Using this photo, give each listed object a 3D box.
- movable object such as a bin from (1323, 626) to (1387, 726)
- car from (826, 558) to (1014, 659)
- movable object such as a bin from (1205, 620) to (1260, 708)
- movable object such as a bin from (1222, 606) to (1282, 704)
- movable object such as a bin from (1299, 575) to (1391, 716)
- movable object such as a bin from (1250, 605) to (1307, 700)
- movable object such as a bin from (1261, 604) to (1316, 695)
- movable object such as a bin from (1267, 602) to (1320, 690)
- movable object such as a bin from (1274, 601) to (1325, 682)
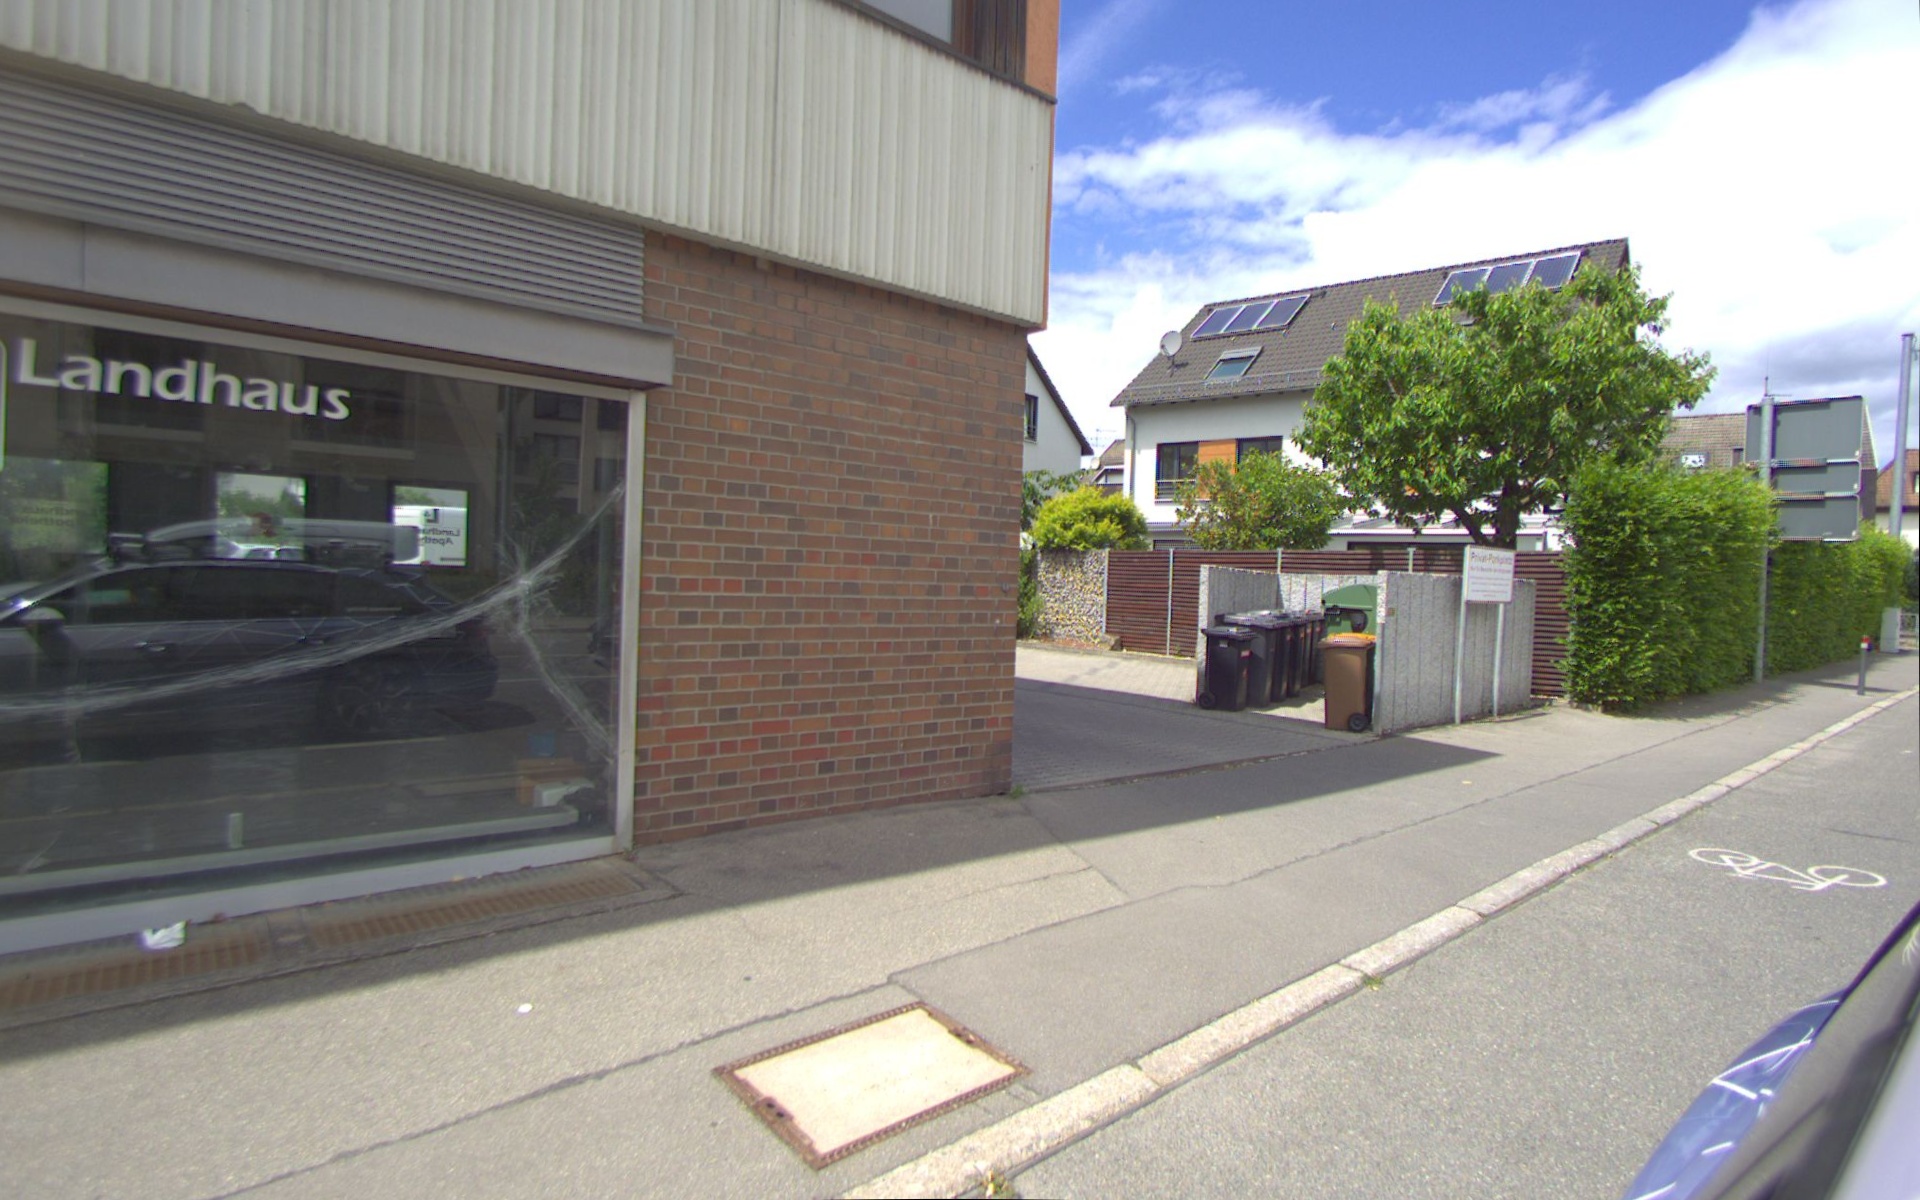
[{"bbox_3d":[3.978,0.747,10.184,0.514,0.933,0.474,1,1,31],"label":"movable object such as a bin"},{"bbox_3d":[-0.597,0.064,18.493,1.977,1.615,3.971,1,2,22],"label":"car"},{"bbox_3d":[3.066,0.710,11.393,0.513,0.933,0.475,1,1,25],"label":"movable object such as a bin"},{"bbox_3d":[3.406,0.627,11.784,0.590,1.088,0.485,1,1,25],"label":"movable object such as a bin"},{"bbox_3d":[4.224,0.472,11.118,0.471,1.473,0.808,0,1,-45],"label":"movable object such as a bin"},{"bbox_3d":[3.837,0.620,12.176,0.590,1.088,0.485,1,1,25],"label":"movable object such as a bin"},{"bbox_3d":[4.101,0.605,12.623,0.590,1.088,0.485,1,1,25],"label":"movable object such as a bin"},{"bbox_3d":[4.321,0.586,13.101,0.590,1.088,0.485,1,1,25],"label":"movable object such as a bin"},{"bbox_3d":[4.792,0.572,14.291,0.591,1.088,0.484,1,1,30],"label":"movable object such as a bin"}]
